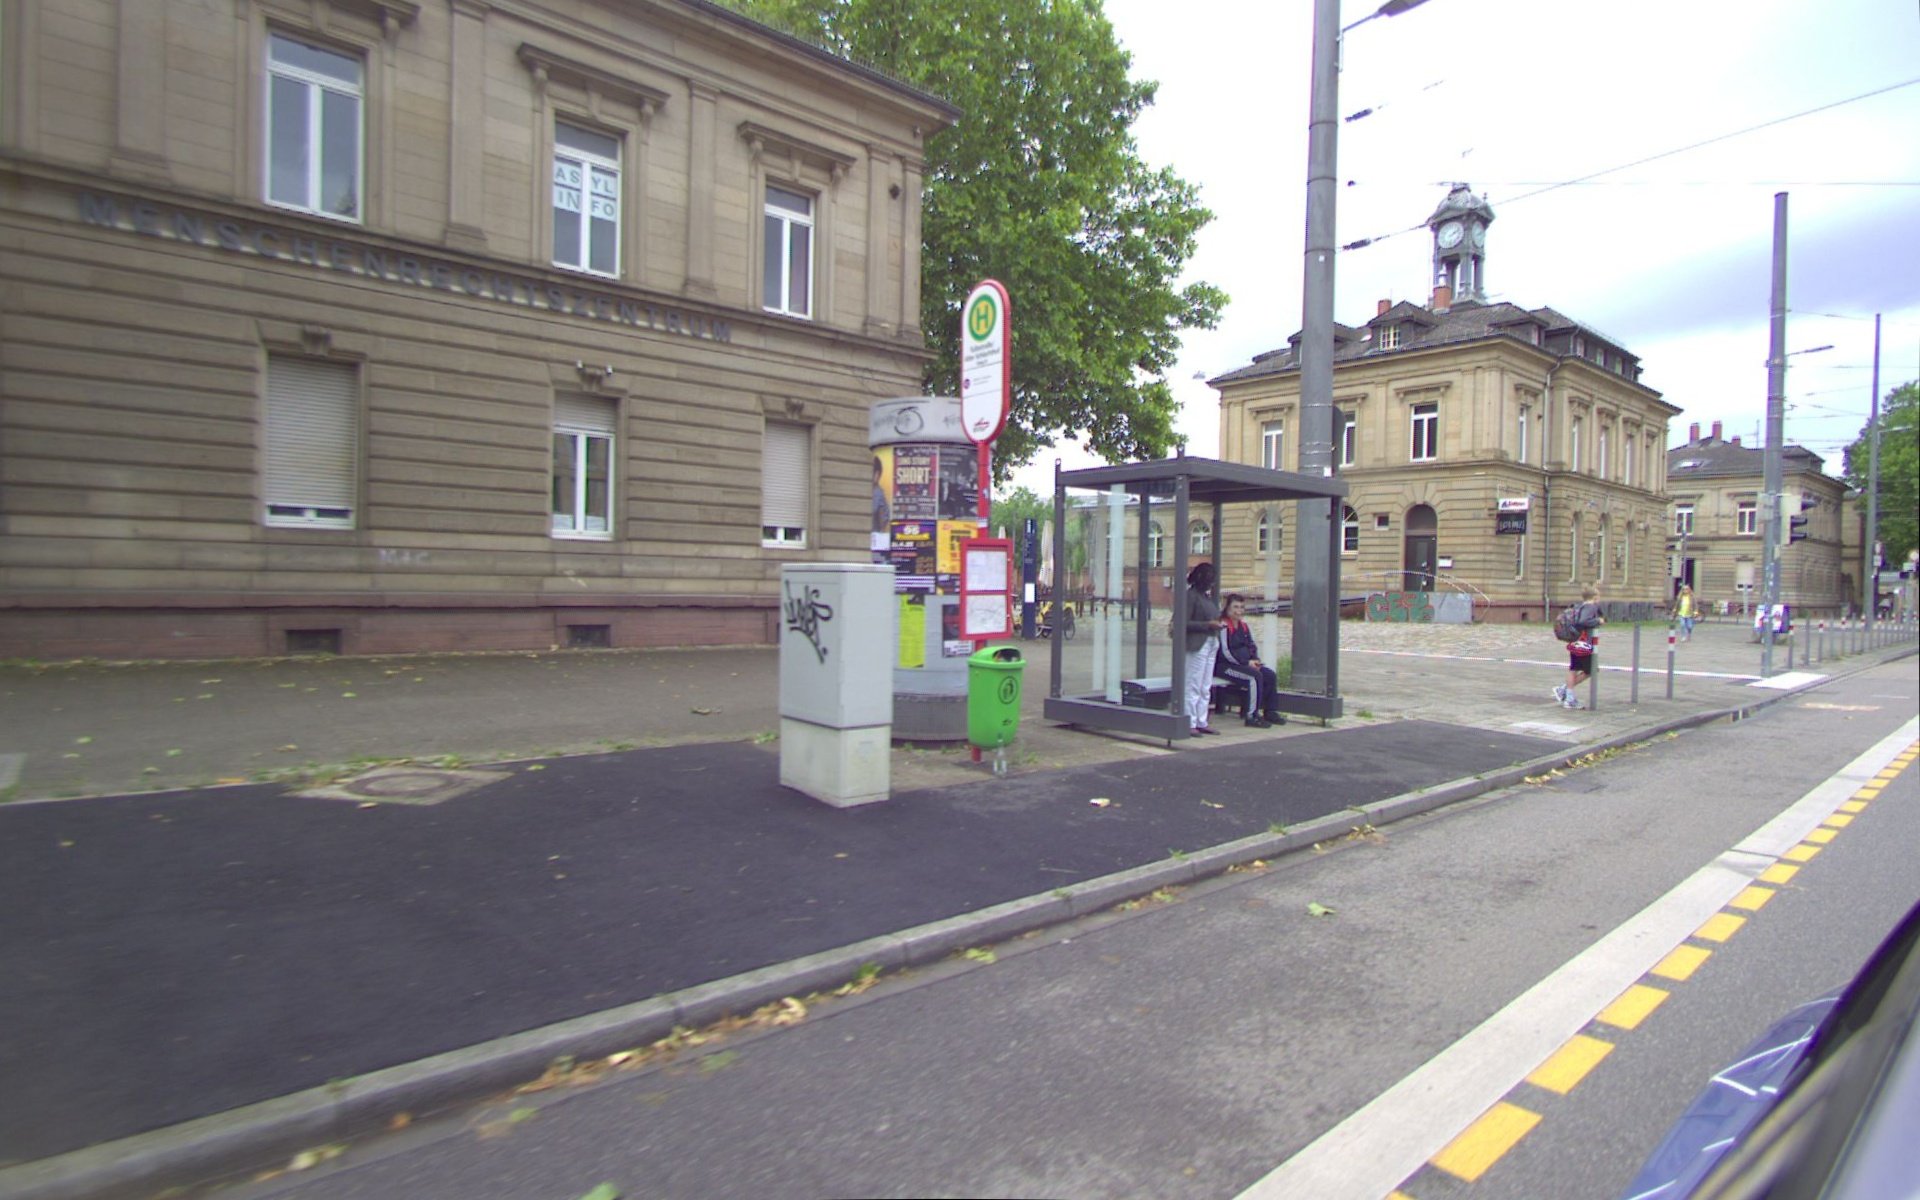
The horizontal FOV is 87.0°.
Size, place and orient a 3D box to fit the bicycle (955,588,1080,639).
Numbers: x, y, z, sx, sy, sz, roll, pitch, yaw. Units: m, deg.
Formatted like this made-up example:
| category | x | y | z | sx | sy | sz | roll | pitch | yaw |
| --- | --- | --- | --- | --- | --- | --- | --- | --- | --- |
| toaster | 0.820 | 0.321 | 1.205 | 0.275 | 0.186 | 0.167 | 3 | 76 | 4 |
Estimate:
| category | x | y | z | sx | sy | sz | roll | pitch | yaw |
| --- | --- | --- | --- | --- | --- | --- | --- | --- | --- |
| bicycle | 1.449 | 0.339 | 24.513 | 3.347 | 1.082 | 0.902 | 3 | -1 | -42 |

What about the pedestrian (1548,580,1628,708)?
| category | x | y | z | sx | sy | sz | roll | pitch | yaw |
| --- | --- | --- | --- | --- | --- | --- | --- | --- | --- |
| pedestrian | 7.841 | 0.531 | 12.640 | 0.625 | 1.547 | 0.554 | 0 | 1 | -22 |

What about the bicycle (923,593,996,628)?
| category | x | y | z | sx | sy | sz | roll | pitch | yaw |
| --- | --- | --- | --- | --- | --- | --- | --- | --- | --- |
| bicycle | -0.002 | 0.280 | 26.894 | 2.046 | 0.882 | 0.610 | 0 | 1 | -42 |

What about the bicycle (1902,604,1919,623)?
| category | x | y | z | sx | sy | sz | roll | pitch | yaw |
| --- | --- | --- | --- | --- | --- | --- | --- | --- | --- |
| bicycle | 57.761 | 0.809 | 61.415 | 1.670 | 1.081 | 0.718 | -1 | 2 | -42 |

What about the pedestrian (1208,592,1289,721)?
| category | x | y | z | sx | sy | sz | roll | pitch | yaw |
| --- | --- | --- | --- | --- | --- | --- | --- | --- | --- |
| pedestrian | 2.947 | 0.552 | 10.328 | 0.690 | 1.249 | 0.477 | 0 | 2 | -40 |

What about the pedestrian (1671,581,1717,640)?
| category | x | y | z | sx | sy | sz | roll | pitch | yaw |
| --- | --- | --- | --- | --- | --- | --- | --- | --- | --- |
| pedestrian | 21.961 | 0.299 | 30.277 | 0.979 | 1.699 | 0.722 | 0 | 2 | -30 |

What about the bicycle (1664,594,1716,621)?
| category | x | y | z | sx | sy | sz | roll | pitch | yaw |
| --- | --- | --- | --- | --- | --- | --- | --- | --- | --- |
| bicycle | 34.182 | 0.332 | 47.420 | 1.844 | 1.091 | 0.541 | 5 | 3 | 32 |

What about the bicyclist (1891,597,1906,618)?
| category | x | y | z | sx | sy | sz | roll | pitch | yaw |
| --- | --- | --- | --- | --- | --- | --- | --- | --- | --- |
| bicyclist | 66.433 | 0.515 | 71.622 | 0.692 | 1.417 | 0.804 | 2 | 2 | 41 |

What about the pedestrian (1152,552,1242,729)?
| category | x | y | z | sx | sy | sz | roll | pitch | yaw |
| --- | --- | --- | --- | --- | --- | --- | --- | --- | --- |
| pedestrian | 2.218 | 0.352 | 9.465 | 0.690 | 1.582 | 0.477 | 0 | 2 | -40 |

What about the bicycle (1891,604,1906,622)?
| category | x | y | z | sx | sy | sz | roll | pitch | yaw |
| --- | --- | --- | --- | --- | --- | --- | --- | --- | --- |
| bicycle | 66.439 | 0.918 | 71.677 | 0.674 | 1.179 | 2.083 | 2 | 2 | 41 |
